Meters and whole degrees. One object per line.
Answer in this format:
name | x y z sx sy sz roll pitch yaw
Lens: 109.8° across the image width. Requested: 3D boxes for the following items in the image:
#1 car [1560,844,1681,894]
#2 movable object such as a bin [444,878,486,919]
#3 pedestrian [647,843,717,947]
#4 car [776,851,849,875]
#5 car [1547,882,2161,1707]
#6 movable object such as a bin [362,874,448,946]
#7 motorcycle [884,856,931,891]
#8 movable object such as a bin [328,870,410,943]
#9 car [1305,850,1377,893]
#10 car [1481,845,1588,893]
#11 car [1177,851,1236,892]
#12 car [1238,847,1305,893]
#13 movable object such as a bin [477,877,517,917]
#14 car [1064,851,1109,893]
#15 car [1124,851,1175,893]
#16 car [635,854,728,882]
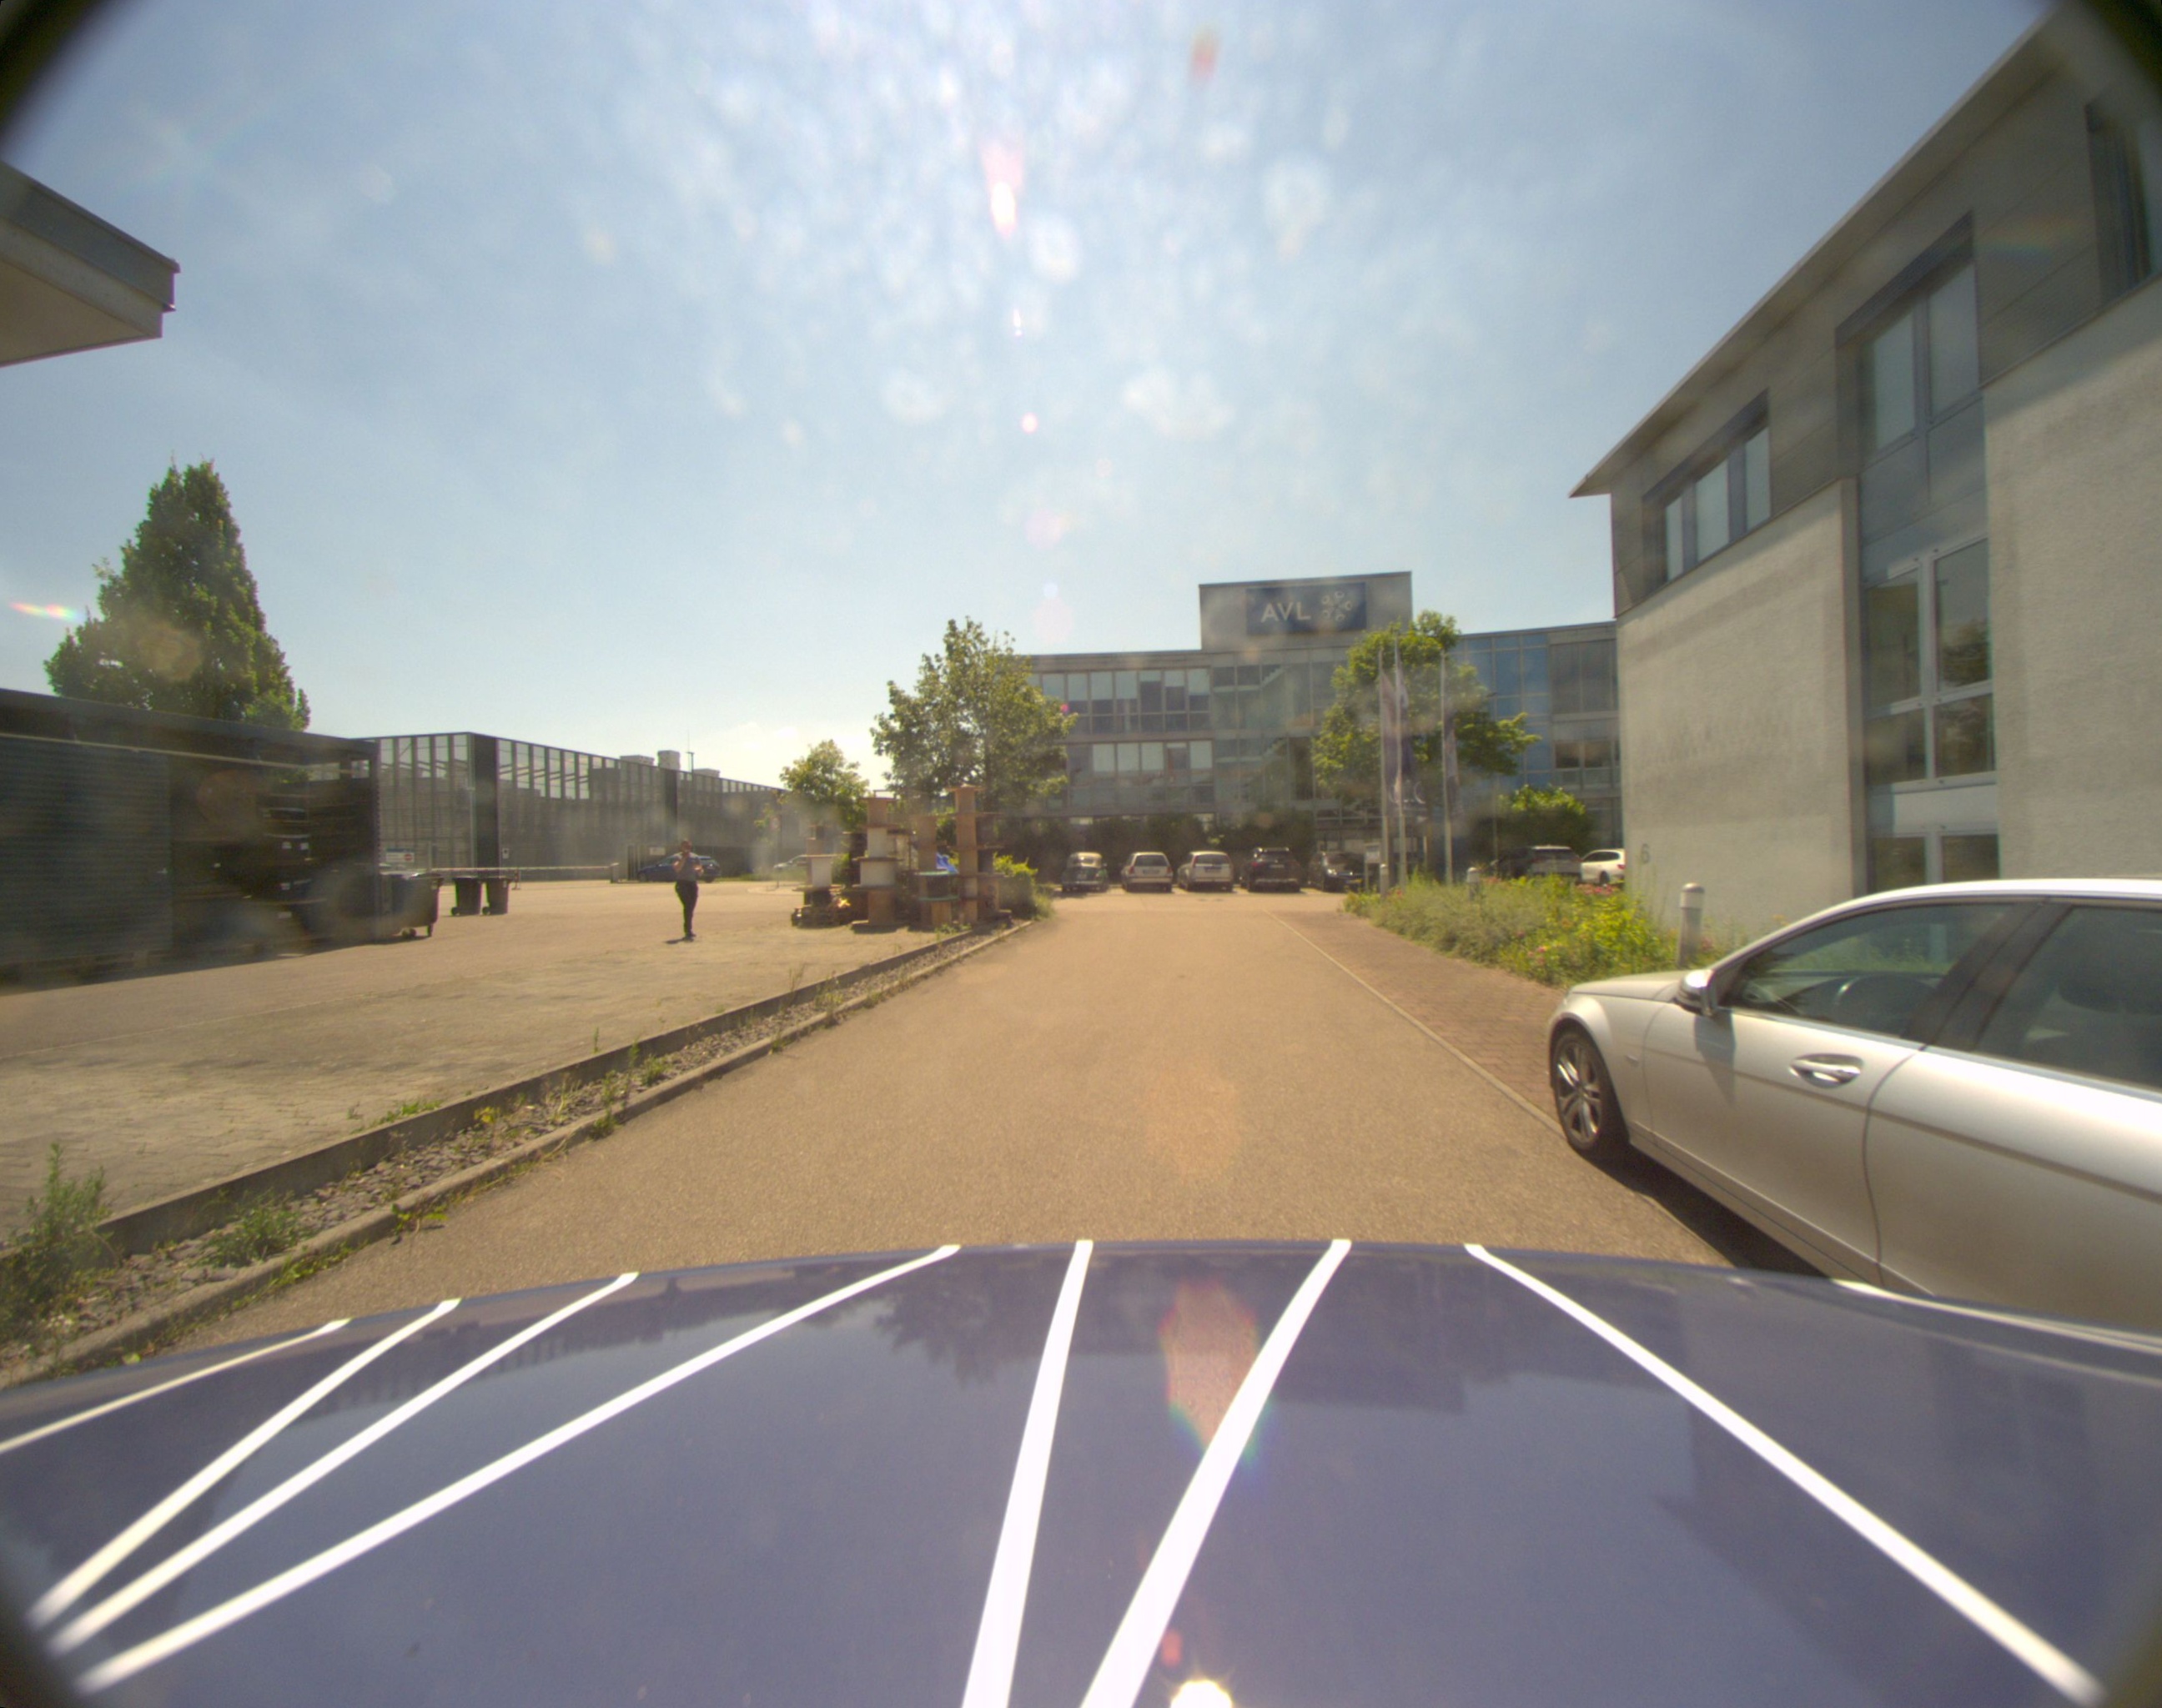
car | 18.999 0.474 27.010 1.831 1.628 4.174 0 1 9
movable object such as a bin | -14.774 1.057 18.234 0.586 0.912 0.546 -1 2 -17
pedestrian | -7.043 0.698 13.432 0.766 1.758 0.811 0 2 37
car | -17.466 0.579 49.436 4.404 1.467 1.783 0 1 23
car | 2.876 0.884 1.719 1.732 1.448 4.151 0 1 10
movable object such as a bin | -12.427 1.014 13.983 0.875 1.242 0.802 0 2 16
motorcycle | -6.686 0.734 29.476 0.873 1.252 2.836 0 1 6
movable object such as a bin | -13.364 0.962 14.278 0.755 1.290 0.802 0 2 16
car | 9.748 0.605 28.833 1.729 1.476 4.399 -1 0 7
car | 16.446 0.485 27.812 1.831 1.628 4.173 0 1 7
car | 4.790 0.628 29.441 1.731 1.444 3.600 0 1 0
car | 7.173 0.545 28.932 1.937 1.593 3.861 0 1 6
movable object such as a bin | -14.149 1.036 18.415 0.586 0.912 0.546 -1 2 -17
car | 0.253 0.643 29.165 1.521 1.437 3.419 0 1 4
car | 2.546 0.654 29.077 1.642 1.444 3.600 0 1 0
car | -21.160 0.756 40.244 4.436 1.401 1.862 -1 1 20
